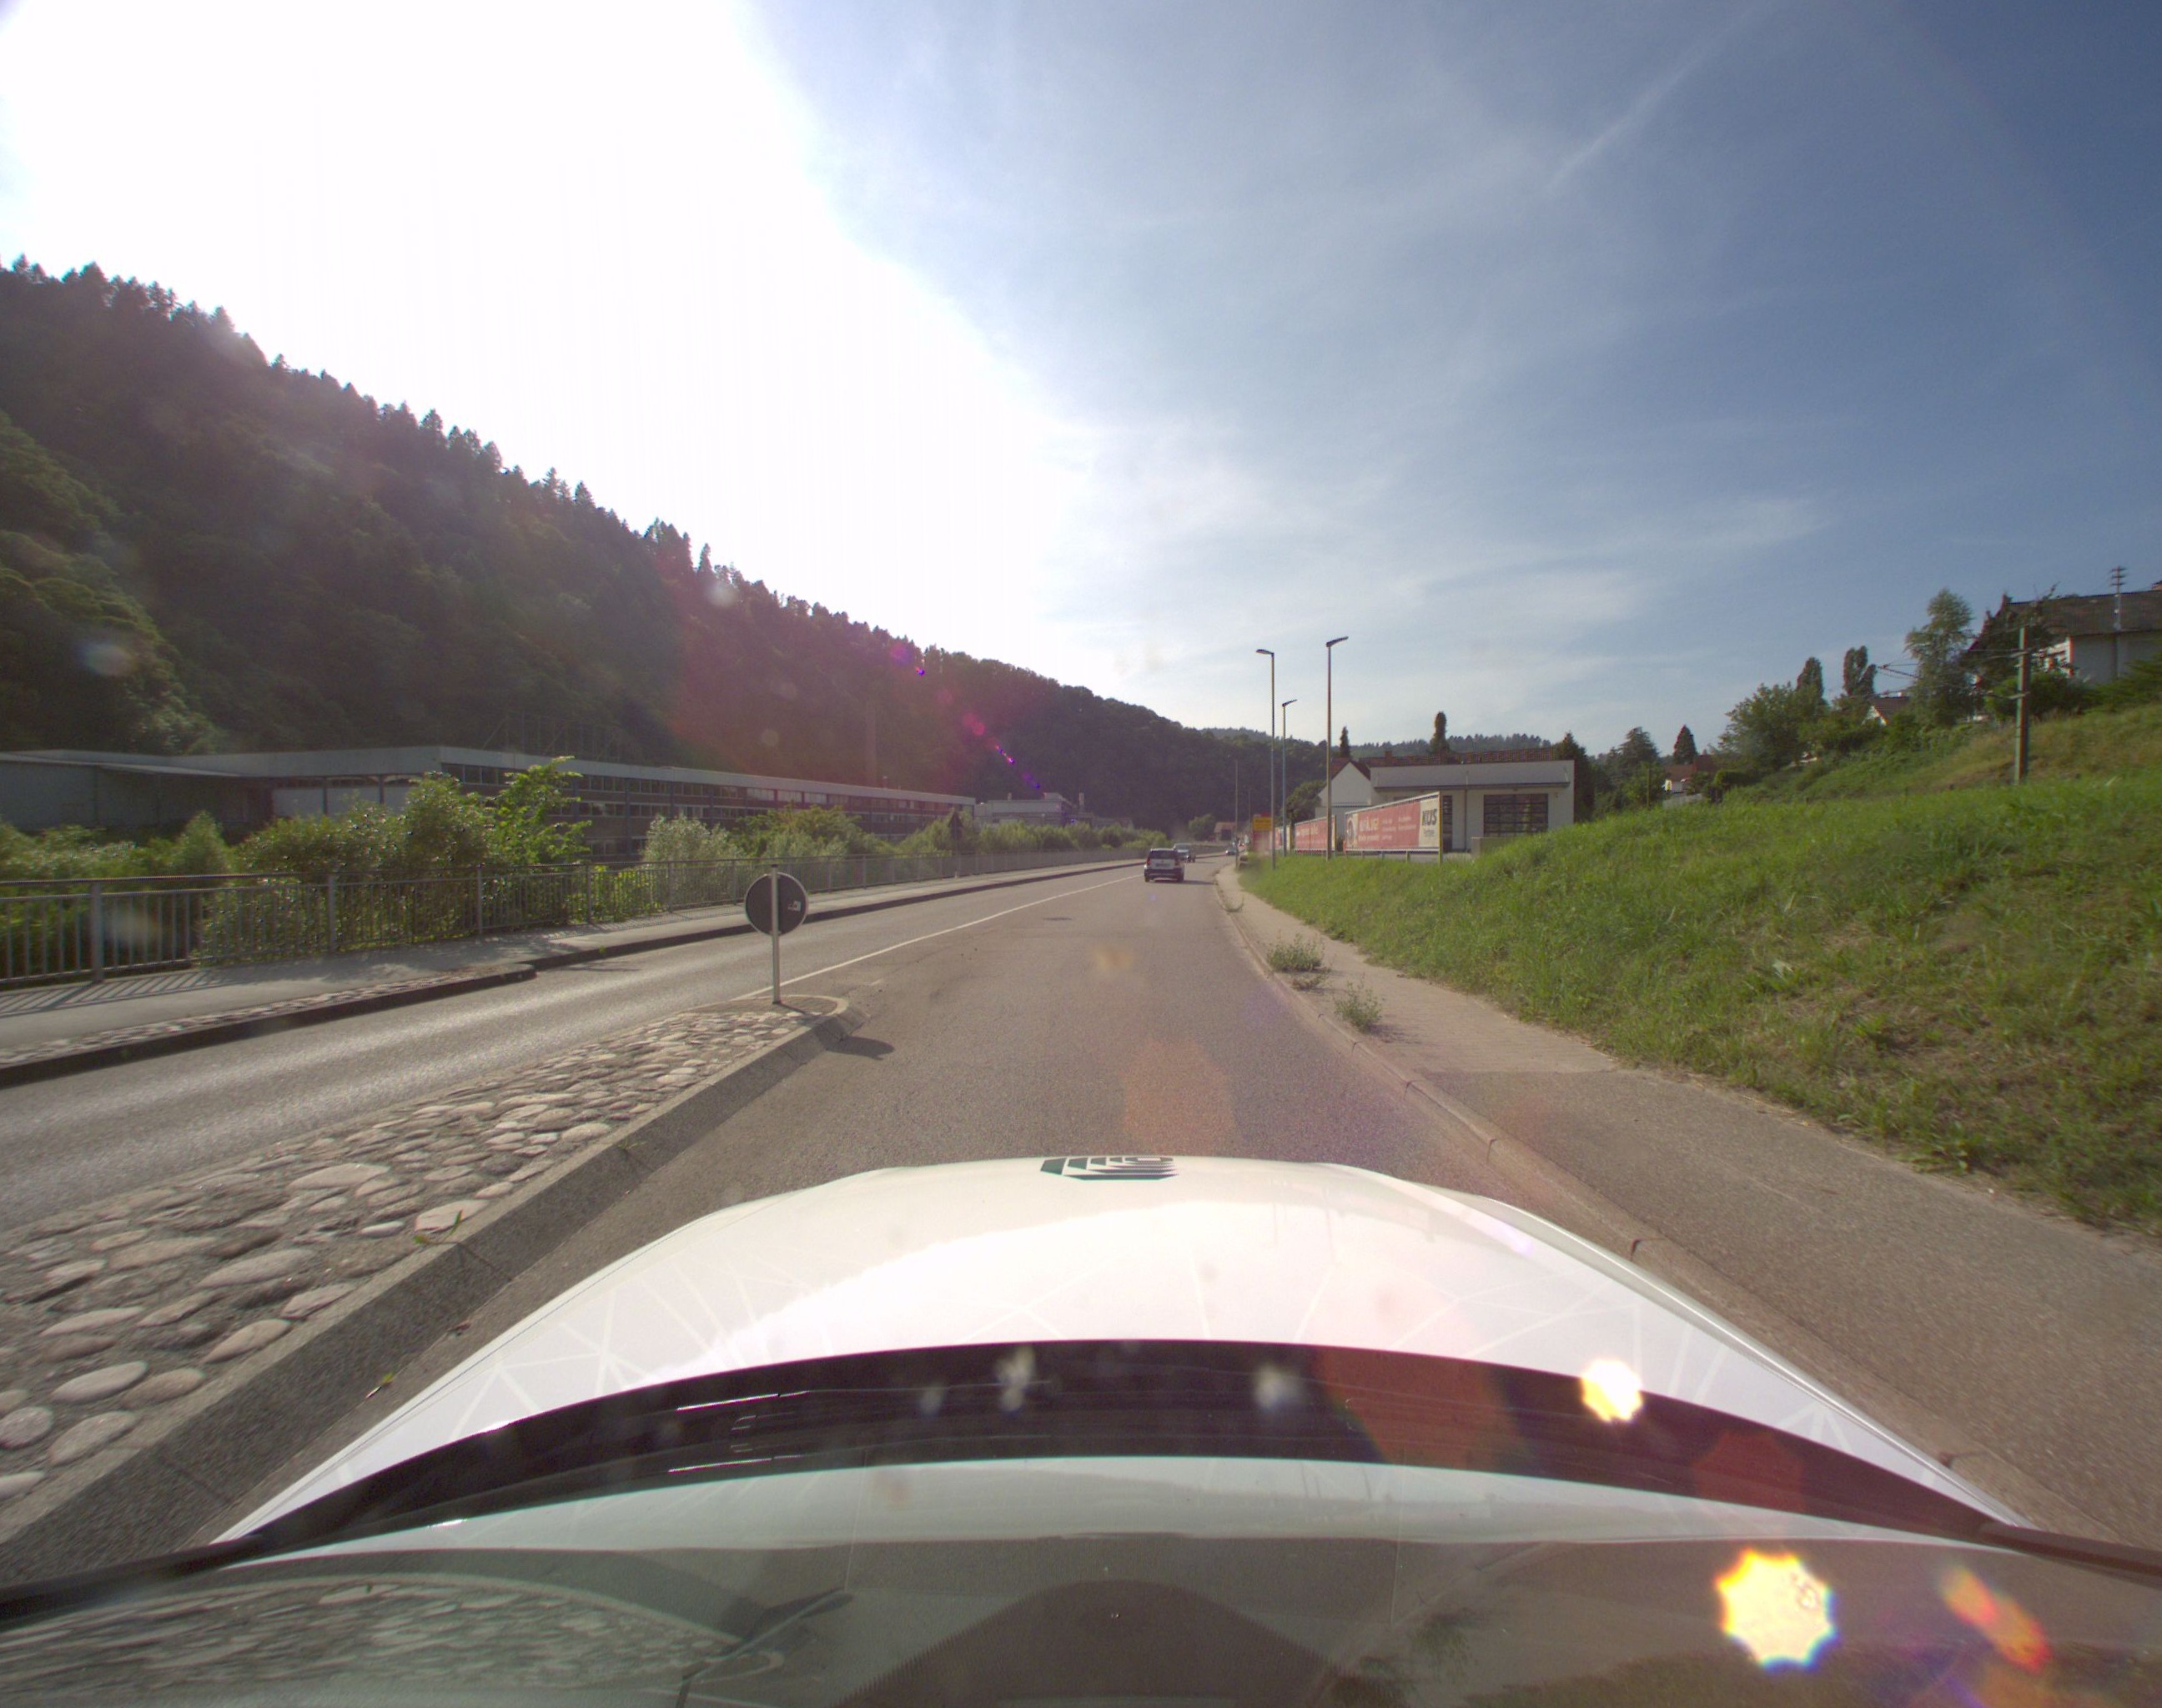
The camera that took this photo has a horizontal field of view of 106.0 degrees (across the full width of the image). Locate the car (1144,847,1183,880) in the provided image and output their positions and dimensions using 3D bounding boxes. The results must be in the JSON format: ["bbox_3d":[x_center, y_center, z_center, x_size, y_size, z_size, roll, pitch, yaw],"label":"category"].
[{"bbox_3d":[4.135,0.441,40.680,1.851,1.544,4.381,0,1,6],"label":"car"}]

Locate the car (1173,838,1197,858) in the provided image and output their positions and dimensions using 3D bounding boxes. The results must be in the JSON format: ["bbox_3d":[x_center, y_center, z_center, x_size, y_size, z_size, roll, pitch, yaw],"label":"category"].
[{"bbox_3d":[11.108,-0.622,86.474,1.906,1.967,5.165,-1,0,14],"label":"car"}]

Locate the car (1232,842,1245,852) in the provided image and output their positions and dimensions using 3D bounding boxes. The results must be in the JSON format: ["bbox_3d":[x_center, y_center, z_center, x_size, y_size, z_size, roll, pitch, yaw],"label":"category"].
[{"bbox_3d":[25.188,-1.089,130.025,1.801,1.484,4.814,0,0,12],"label":"car"}]
